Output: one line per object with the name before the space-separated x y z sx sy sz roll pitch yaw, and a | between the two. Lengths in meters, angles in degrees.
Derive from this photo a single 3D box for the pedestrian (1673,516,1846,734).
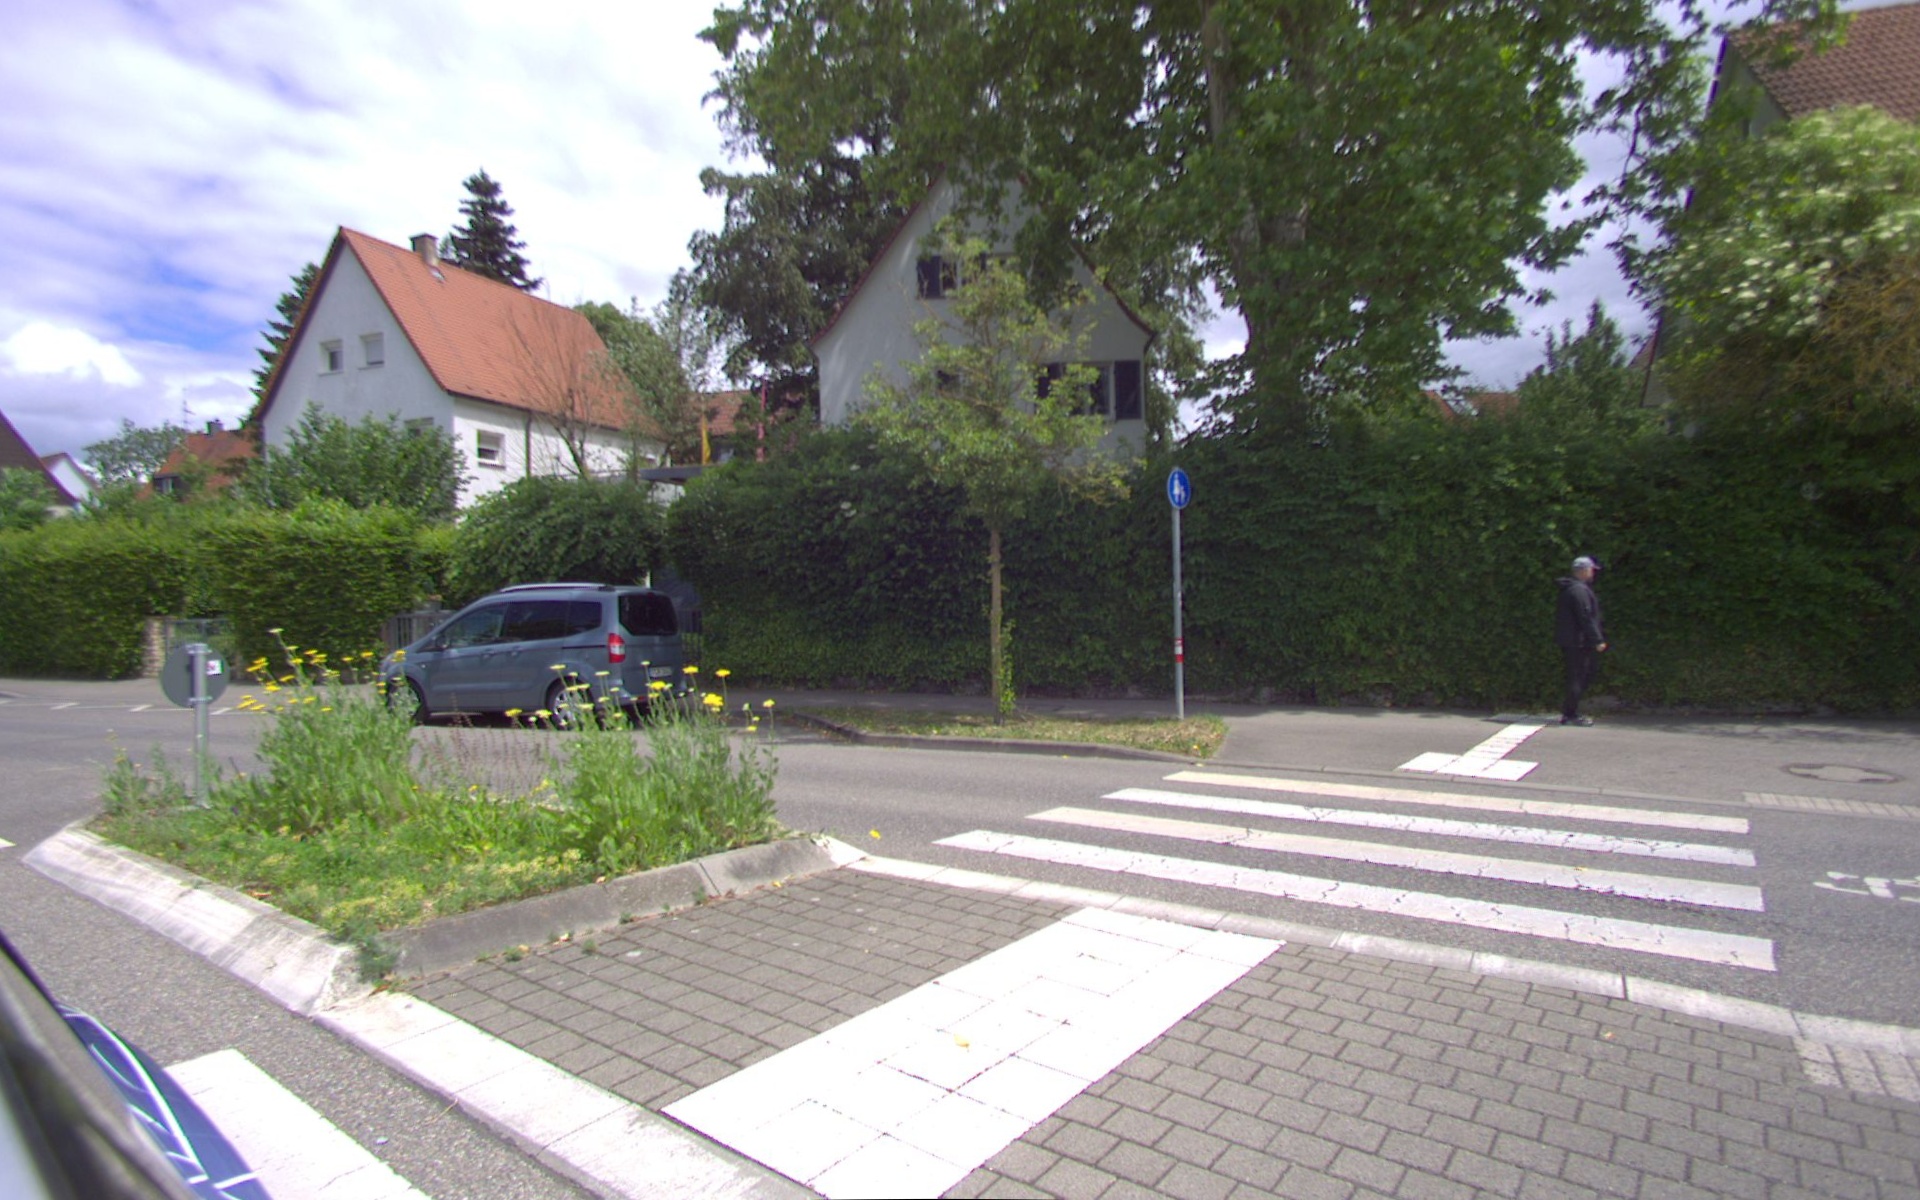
pedestrian | 7.849 0.244 9.997 1.032 2.029 0.869 -1 -1 18

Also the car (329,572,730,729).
car | -5.537 0.628 13.239 4.422 1.786 2.129 -2 1 15
